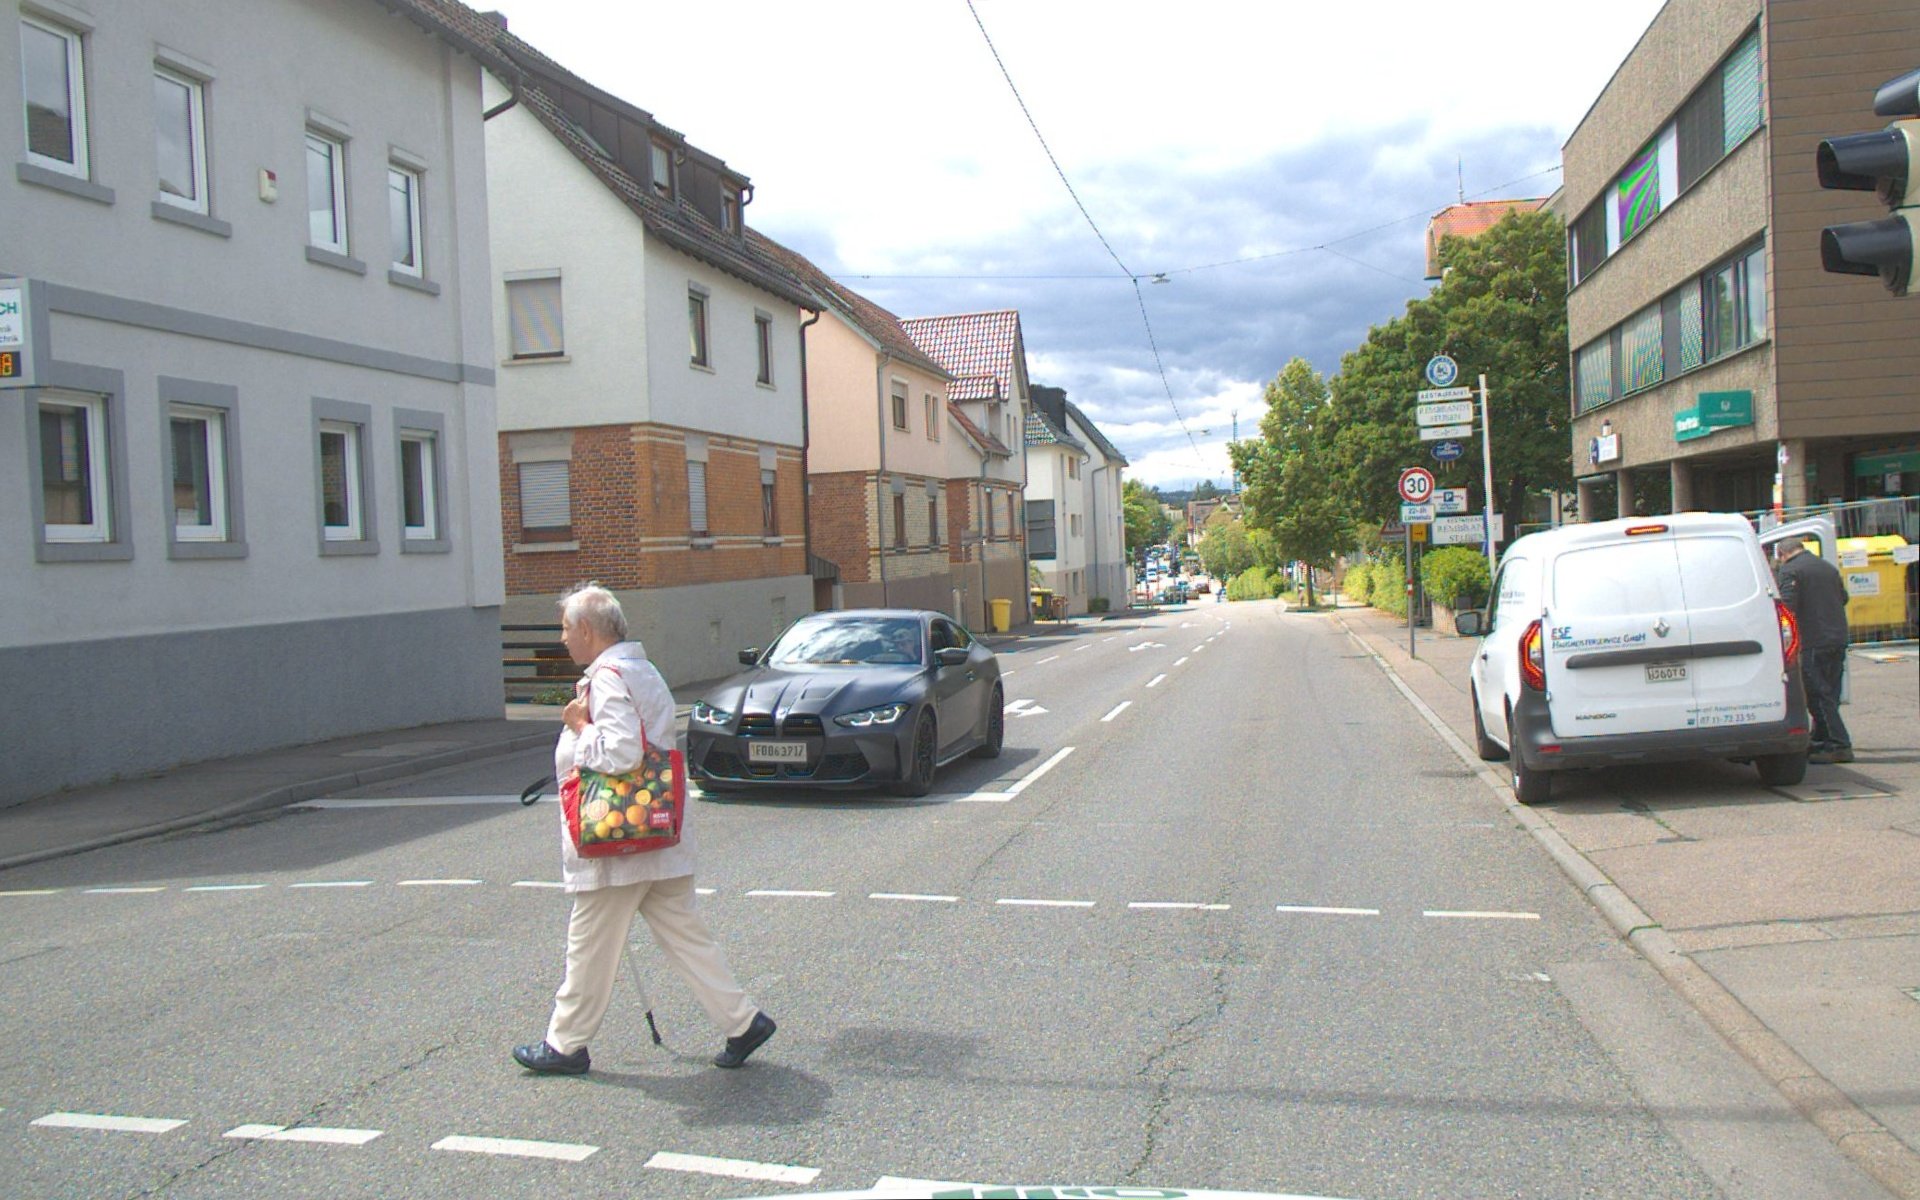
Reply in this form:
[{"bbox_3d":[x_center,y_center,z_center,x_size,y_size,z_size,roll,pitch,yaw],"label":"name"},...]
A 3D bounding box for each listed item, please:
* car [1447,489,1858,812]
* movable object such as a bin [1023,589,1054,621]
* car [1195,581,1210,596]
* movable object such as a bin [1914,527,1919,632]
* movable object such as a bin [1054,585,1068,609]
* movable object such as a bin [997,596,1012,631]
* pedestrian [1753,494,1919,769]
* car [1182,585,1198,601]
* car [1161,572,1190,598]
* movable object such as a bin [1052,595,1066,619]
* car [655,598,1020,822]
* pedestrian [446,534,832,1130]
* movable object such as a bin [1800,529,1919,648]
[{"bbox_3d":[4.866,0.306,12.333,1.871,1.825,4.495,-5,-1,12],"label":"car"},{"bbox_3d":[3.433,0.231,71.870,1.254,1.332,0.817,-2,0,6],"label":"movable object such as a bin"},{"bbox_3d":[34.943,-1.671,238.768,1.951,2.049,4.003,-3,-1,7],"label":"car"},{"bbox_3d":[13.632,-0.276,22.579,0.763,1.464,1.019,-3,2,14],"label":"movable object such as a bin"},{"bbox_3d":[4.474,-0.134,73.399,0.520,1.048,0.455,-2,0,10],"label":"movable object such as a bin"},{"bbox_3d":[1.508,0.456,55.909,0.422,1.147,0.299,-3,0,10],"label":"movable object such as a bin"},{"bbox_3d":[6.171,0.214,11.634,0.825,1.834,0.651,-4,0,11],"label":"pedestrian"},{"bbox_3d":[31.064,-0.988,223.405,1.951,2.049,4.003,-3,-1,7],"label":"car"},{"bbox_3d":[17.841,-1.266,137.107,1.952,2.049,4.001,-2,0,2],"label":"car"},{"bbox_3d":[4.354,0.298,72.992,0.520,1.048,0.455,-2,0,10],"label":"movable object such as a bin"},{"bbox_3d":[-0.833,0.814,14.344,1.951,1.482,4.622,-3,0,11],"label":"car"},{"bbox_3d":[-0.980,0.652,5.177,0.853,1.666,0.836,-1,0,23],"label":"pedestrian"},{"bbox_3d":[12.560,-0.174,22.861,1.451,1.518,1.077,-3,2,14],"label":"movable object such as a bin"}]
